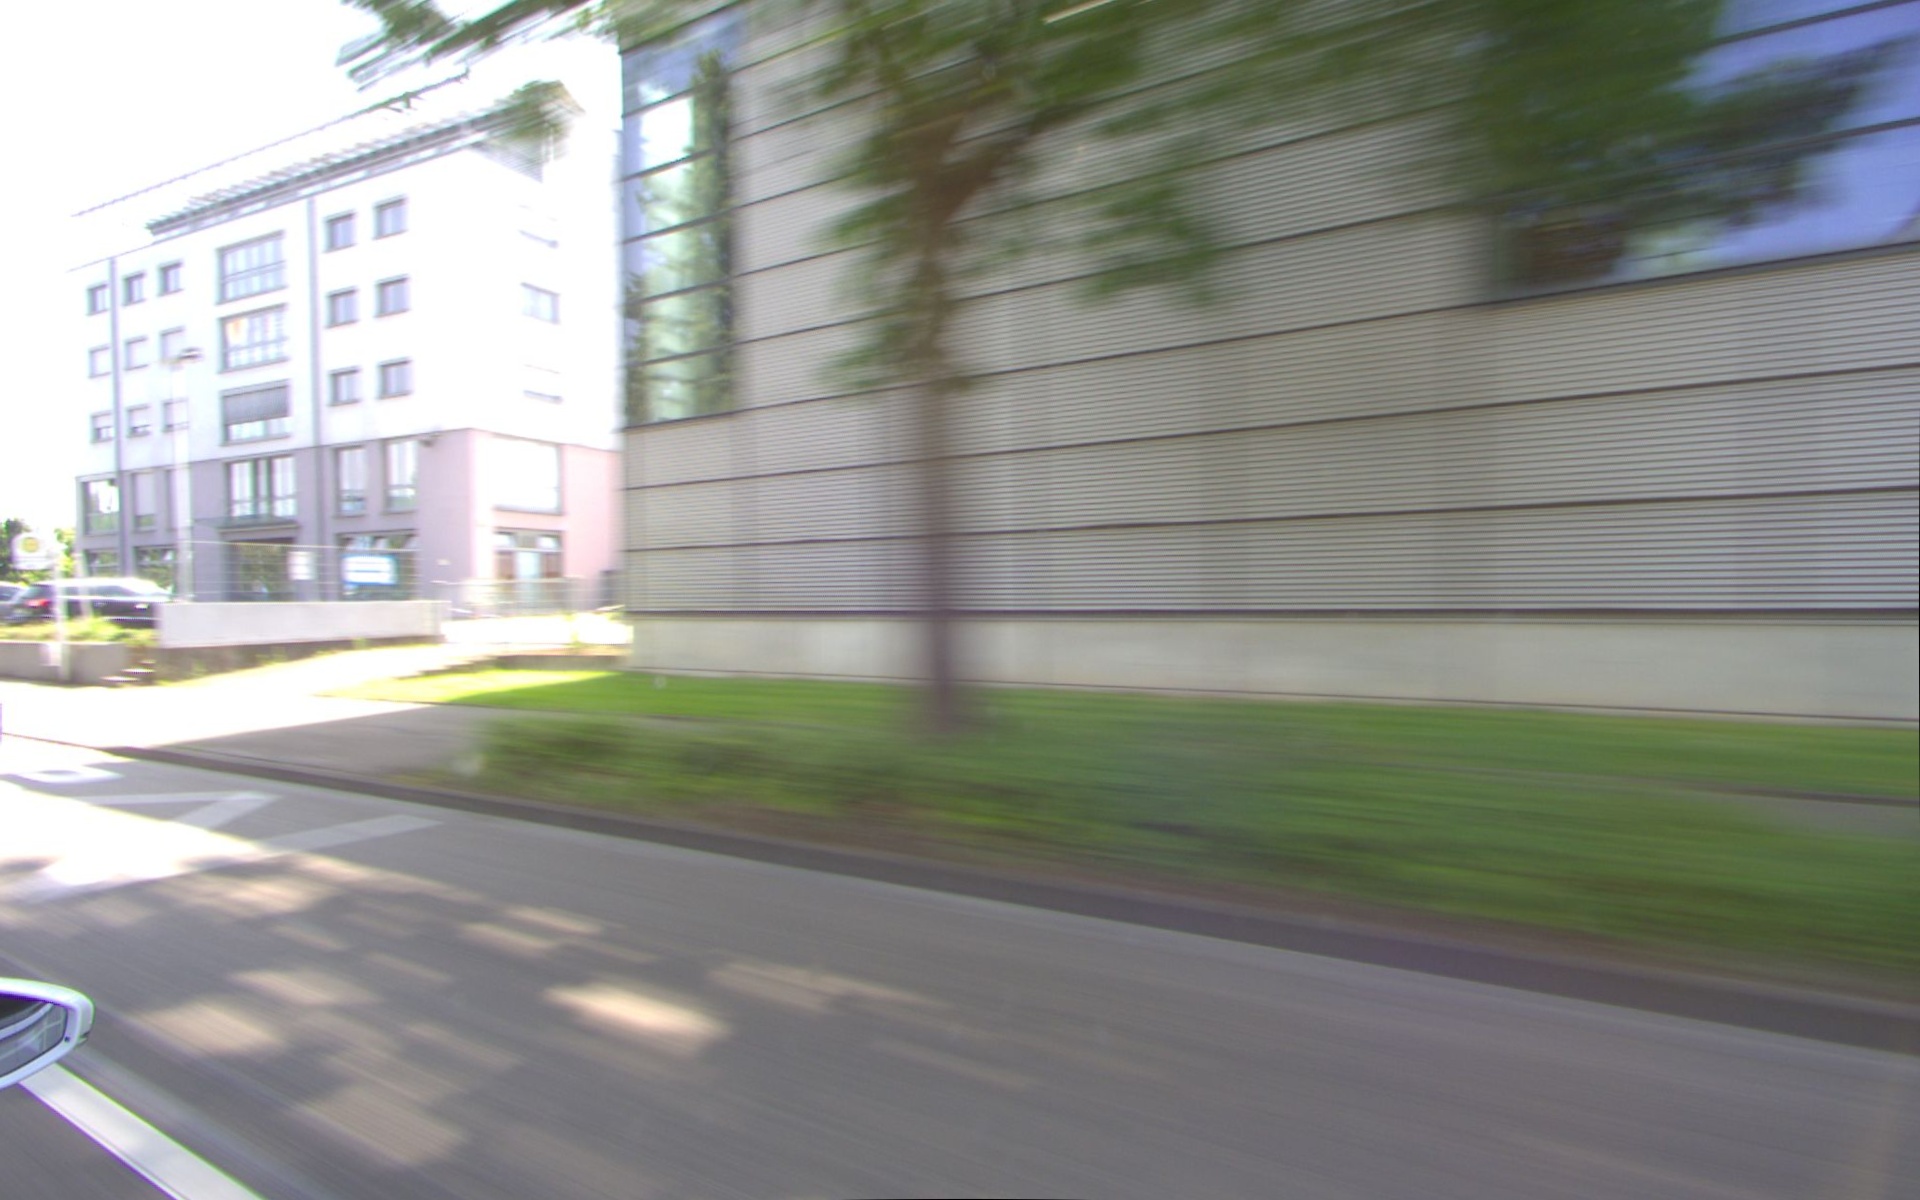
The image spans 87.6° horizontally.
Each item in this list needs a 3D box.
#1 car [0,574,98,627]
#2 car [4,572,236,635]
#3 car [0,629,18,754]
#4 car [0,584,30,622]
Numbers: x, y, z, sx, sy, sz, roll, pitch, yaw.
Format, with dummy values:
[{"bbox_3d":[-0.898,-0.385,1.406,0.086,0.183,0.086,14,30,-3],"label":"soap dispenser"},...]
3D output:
[{"bbox_3d":[-30.506,0.022,31.860,1.971,1.669,4.218,-1,1,31],"label":"car"},{"bbox_3d":[-23.001,0.048,27.628,1.971,1.604,4.490,-1,1,31],"label":"car"},{"bbox_3d":[-12.501,1.001,11.528,3.554,1.382,1.624,0,-1,33],"label":"car"},{"bbox_3d":[-36.416,0.160,35.736,1.970,1.387,4.312,-1,1,30],"label":"car"}]
